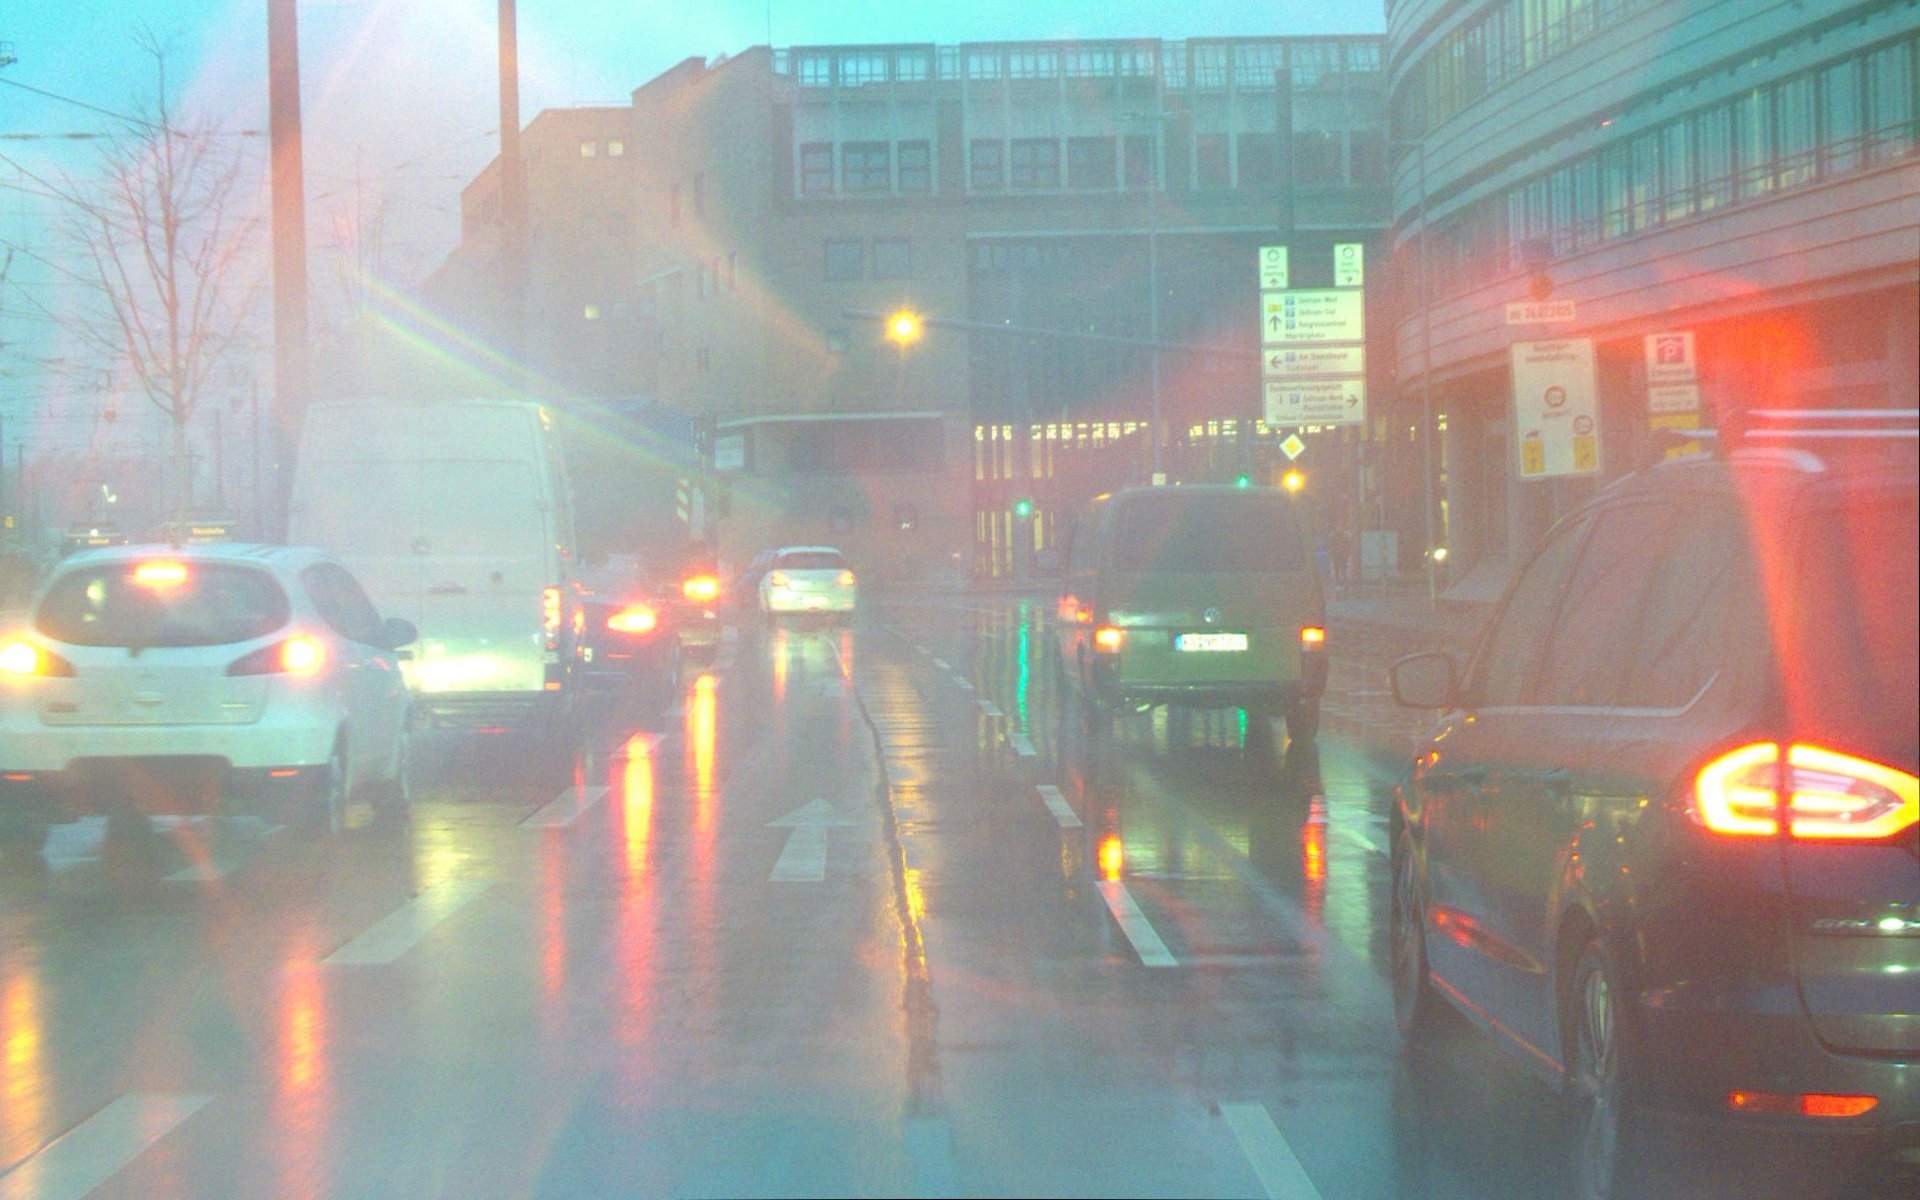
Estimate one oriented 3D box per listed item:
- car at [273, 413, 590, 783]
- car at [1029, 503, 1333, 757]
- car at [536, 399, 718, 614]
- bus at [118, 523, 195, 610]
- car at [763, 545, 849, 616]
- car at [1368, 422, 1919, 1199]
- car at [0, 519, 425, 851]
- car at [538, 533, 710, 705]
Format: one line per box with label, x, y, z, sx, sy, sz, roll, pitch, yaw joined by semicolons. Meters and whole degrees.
car;-3.826;-0.059;25.824;1.993;2.419;5.975;-1;1;-6
car;1.647;0.180;27.142;1.843;1.800;4.487;-1;1;-3
car;-4.645;-1.272;48.727;2.354;2.817;6.360;-1;1;-4
bus;-32.727;-1.366;139.834;2.822;3.361;8.002;-1;1;-14
car;-2.922;-0.393;65.805;1.511;1.301;3.041;-1;1;0
car;2.093;0.522;8.594;1.674;1.773;4.000;0;1;0
car;-3.788;0.347;17.688;1.638;1.491;3.686;-1;1;-3
car;-3.183;0.167;32.736;1.517;1.515;3.471;-1;0;-5
